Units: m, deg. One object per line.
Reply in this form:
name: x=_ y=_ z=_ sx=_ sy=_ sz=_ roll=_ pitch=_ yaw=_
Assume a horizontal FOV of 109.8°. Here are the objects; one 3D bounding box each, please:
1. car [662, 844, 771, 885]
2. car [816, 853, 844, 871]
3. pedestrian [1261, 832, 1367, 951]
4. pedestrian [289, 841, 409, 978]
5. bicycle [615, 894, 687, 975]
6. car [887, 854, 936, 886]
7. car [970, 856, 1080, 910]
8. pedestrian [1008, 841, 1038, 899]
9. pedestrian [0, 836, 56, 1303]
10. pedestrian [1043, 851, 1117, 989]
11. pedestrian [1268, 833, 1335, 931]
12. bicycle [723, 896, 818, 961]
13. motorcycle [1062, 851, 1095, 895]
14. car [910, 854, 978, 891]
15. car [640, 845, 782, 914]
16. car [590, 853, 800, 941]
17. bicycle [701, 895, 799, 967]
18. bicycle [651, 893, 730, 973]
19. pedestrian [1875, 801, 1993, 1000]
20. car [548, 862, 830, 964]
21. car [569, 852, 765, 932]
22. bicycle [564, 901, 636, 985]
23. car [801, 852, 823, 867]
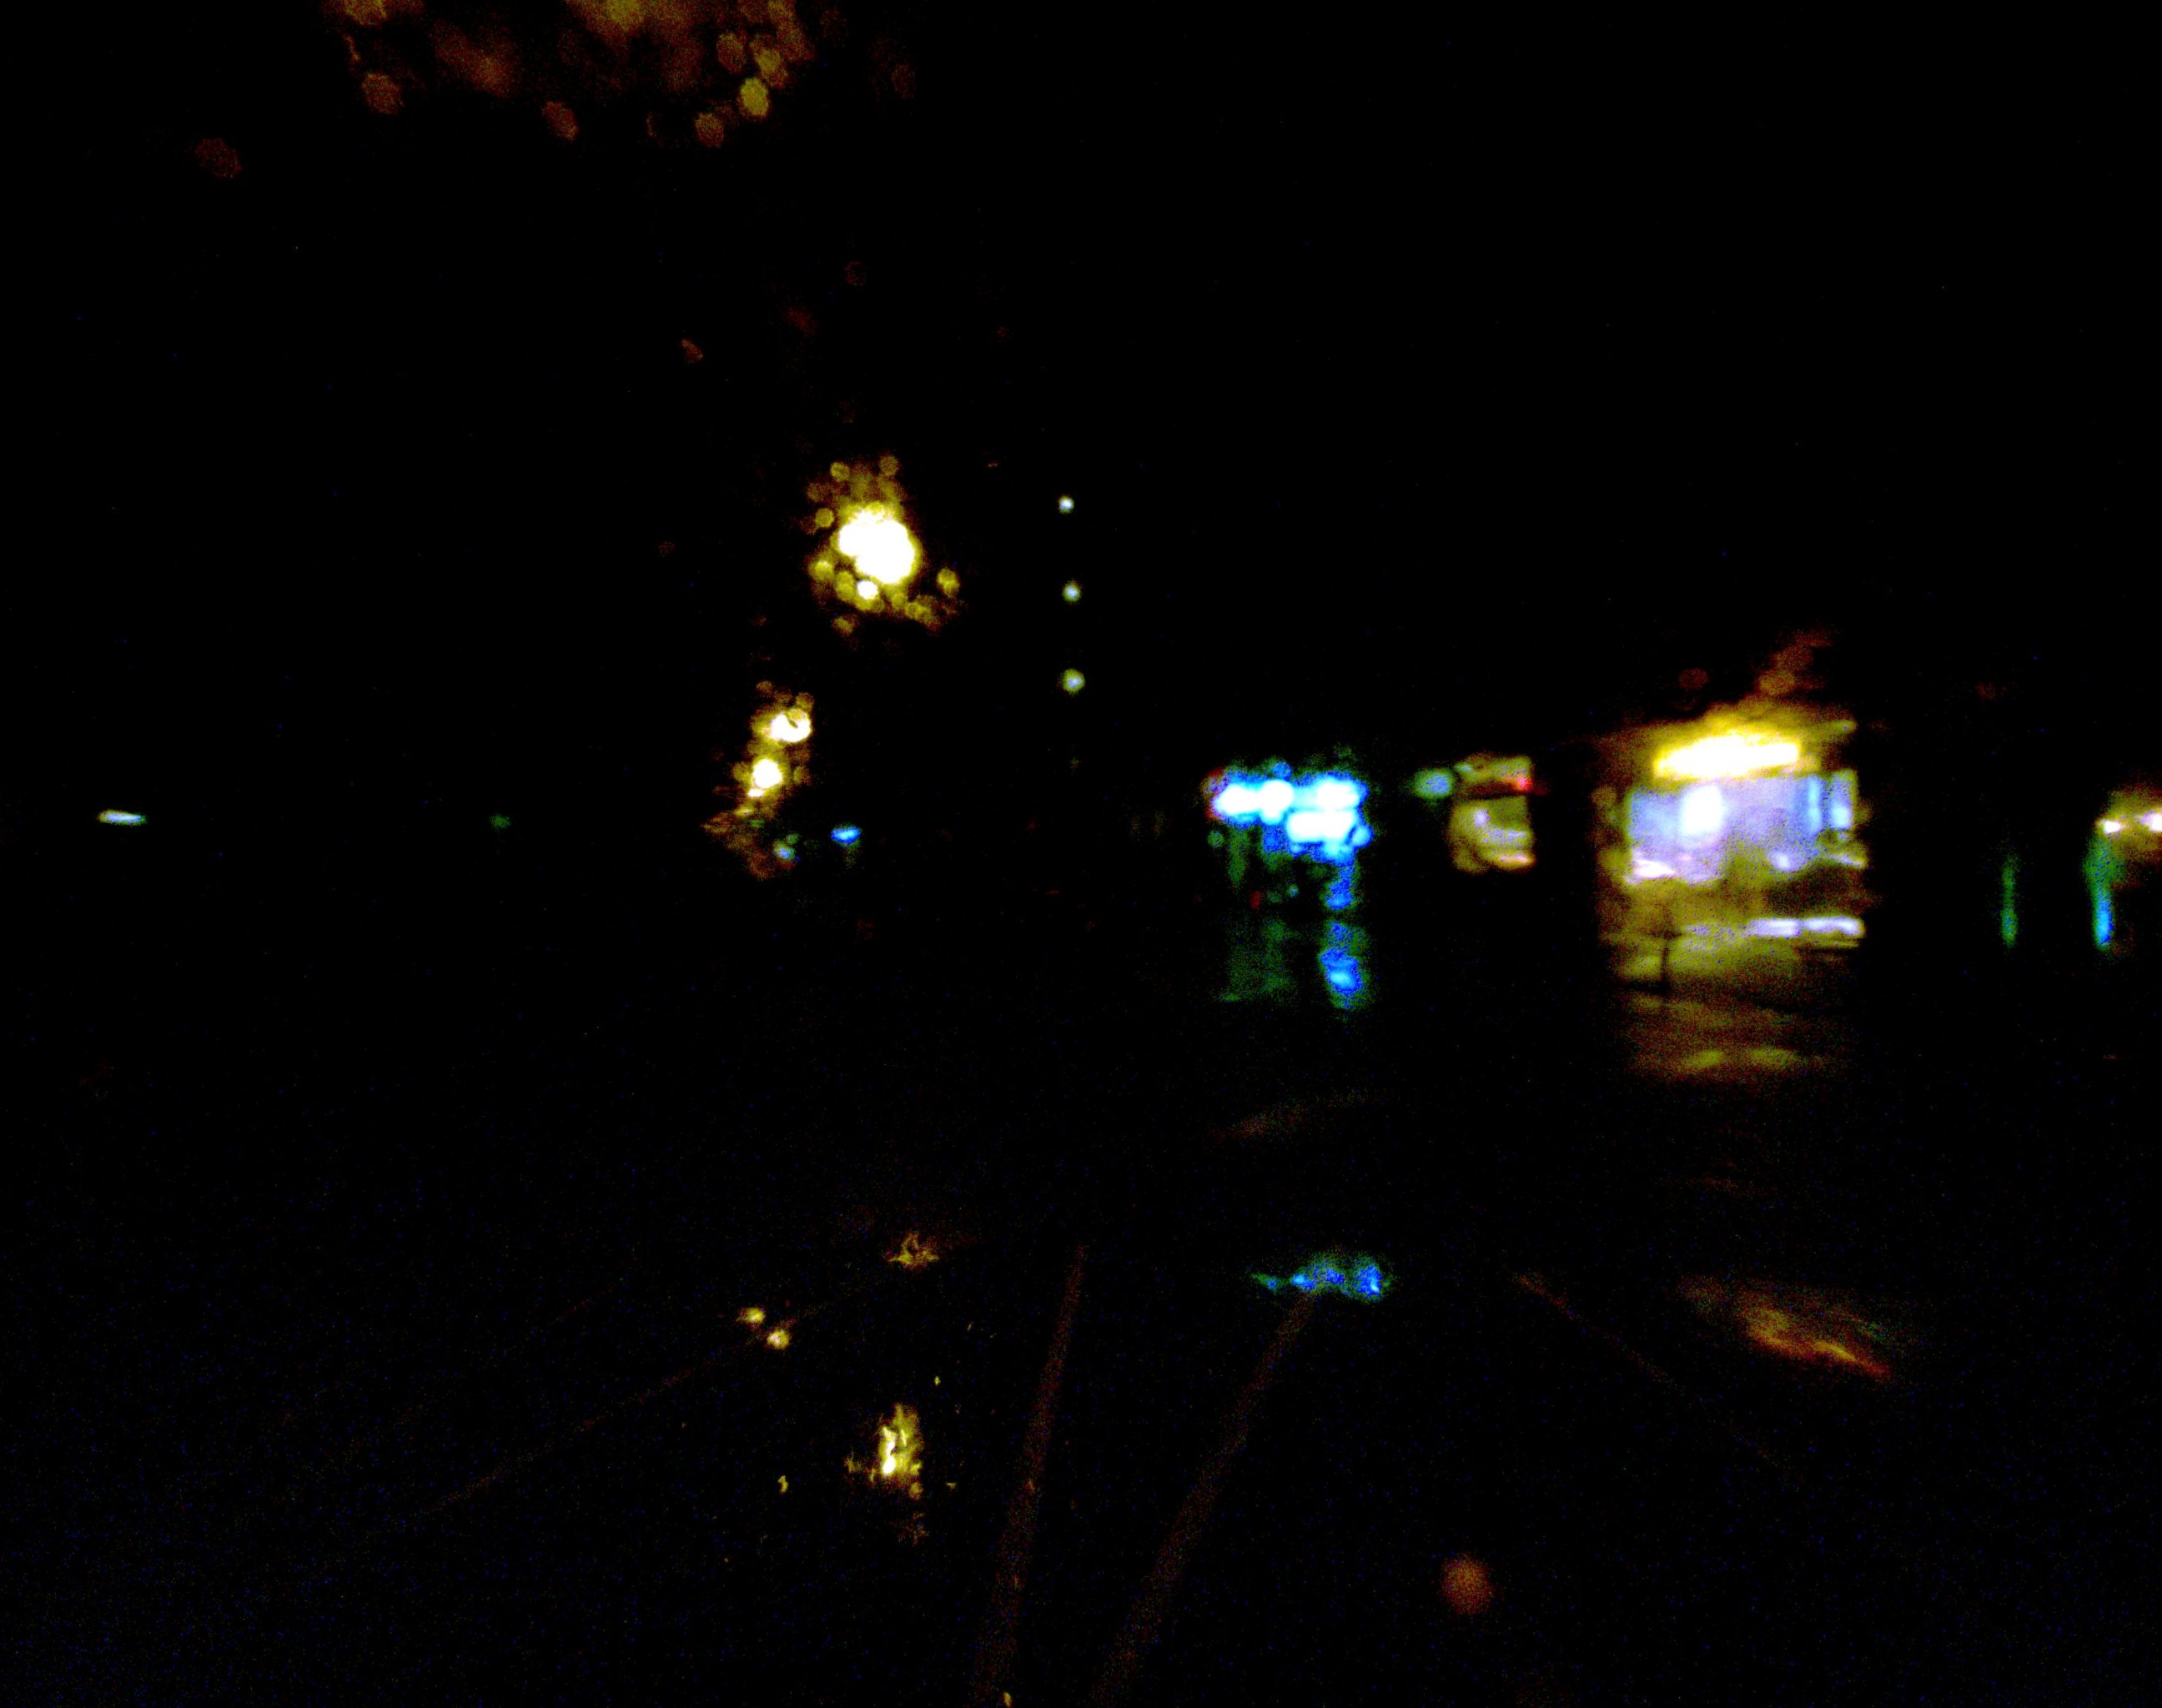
car: x=-19.013 y=0.514 z=39.834 sx=1.974 sy=1.969 sz=4.721 roll=0 pitch=1 yaw=36
car: x=-22.718 y=0.730 z=68.668 sx=1.855 sy=1.470 sz=3.727 roll=-3 pitch=1 yaw=-25
pedestrian: x=3.863 y=0.579 z=12.671 sx=0.960 sy=1.852 sz=1.412 roll=-1 pitch=1 yaw=-26
pedestrian: x=-10.052 y=0.733 z=10.473 sx=0.791 sy=1.807 sz=0.810 roll=0 pitch=2 yaw=0
bicycle: x=-6.381 y=1.162 z=11.242 sx=1.641 sy=1.086 sz=0.337 roll=-1 pitch=0 yaw=39
car: x=-8.682 y=0.776 z=38.772 sx=1.723 sy=1.470 sz=3.778 roll=-3 pitch=1 yaw=-23
car: x=-1.936 y=0.841 z=24.442 sx=1.855 sy=1.470 sz=5.020 roll=-2 pitch=1 yaw=-25
pedestrian: x=-2.332 y=0.626 z=30.344 sx=0.803 sy=2.228 sz=1.114 roll=-1 pitch=1 yaw=-26
pedestrian: x=-4.734 y=0.854 z=2.684 sx=0.877 sy=1.823 sz=0.984 roll=-1 pitch=1 yaw=11
pedestrian: x=-0.023 y=0.860 z=10.243 sx=0.829 sy=1.761 sz=0.599 roll=-2 pitch=2 yaw=-13
pedestrian: x=4.332 y=0.528 z=14.976 sx=0.677 sy=1.822 sz=1.075 roll=-3 pitch=2 yaw=-23
bicycle: x=-5.204 y=1.231 z=12.731 sx=1.643 sy=1.020 sz=0.336 roll=-1 pitch=0 yaw=18
motorcycle: x=-0.105 y=0.651 z=26.806 sx=0.539 sy=1.463 sz=1.454 roll=-3 pitch=2 yaw=-26
car: x=-6.169 y=0.778 z=33.925 sx=1.724 sy=1.470 sz=4.150 roll=-2 pitch=1 yaw=-28
car: x=-11.743 y=0.756 z=24.323 sx=1.717 sy=2.016 sz=3.748 roll=0 pitch=0 yaw=30
car: x=-8.360 y=0.854 z=16.770 sx=1.767 sy=1.702 sz=3.748 roll=0 pitch=0 yaw=30
bicycle: x=-5.323 y=1.212 z=12.195 sx=1.642 sy=1.020 sz=0.336 roll=2 pitch=1 yaw=20
bicycle: x=-5.990 y=1.180 z=11.623 sx=1.641 sy=1.021 sz=0.336 roll=4 pitch=4 yaw=35
pedestrian: x=8.617 y=0.442 z=7.684 sx=0.655 sy=1.898 sz=0.627 roll=-1 pitch=1 yaw=-26
car: x=-7.019 y=0.940 z=14.023 sx=1.767 sy=1.564 sz=4.272 roll=0 pitch=0 yaw=36
car: x=-9.847 y=0.835 z=18.363 sx=1.744 sy=1.702 sz=3.801 roll=0 pitch=0 yaw=30
bicycle: x=-6.794 y=1.218 z=10.704 sx=1.641 sy=1.020 sz=0.337 roll=1 pitch=1 yaw=39
car: x=-29.723 y=0.609 z=83.880 sx=1.855 sy=1.571 sz=3.727 roll=-3 pitch=1 yaw=-25
